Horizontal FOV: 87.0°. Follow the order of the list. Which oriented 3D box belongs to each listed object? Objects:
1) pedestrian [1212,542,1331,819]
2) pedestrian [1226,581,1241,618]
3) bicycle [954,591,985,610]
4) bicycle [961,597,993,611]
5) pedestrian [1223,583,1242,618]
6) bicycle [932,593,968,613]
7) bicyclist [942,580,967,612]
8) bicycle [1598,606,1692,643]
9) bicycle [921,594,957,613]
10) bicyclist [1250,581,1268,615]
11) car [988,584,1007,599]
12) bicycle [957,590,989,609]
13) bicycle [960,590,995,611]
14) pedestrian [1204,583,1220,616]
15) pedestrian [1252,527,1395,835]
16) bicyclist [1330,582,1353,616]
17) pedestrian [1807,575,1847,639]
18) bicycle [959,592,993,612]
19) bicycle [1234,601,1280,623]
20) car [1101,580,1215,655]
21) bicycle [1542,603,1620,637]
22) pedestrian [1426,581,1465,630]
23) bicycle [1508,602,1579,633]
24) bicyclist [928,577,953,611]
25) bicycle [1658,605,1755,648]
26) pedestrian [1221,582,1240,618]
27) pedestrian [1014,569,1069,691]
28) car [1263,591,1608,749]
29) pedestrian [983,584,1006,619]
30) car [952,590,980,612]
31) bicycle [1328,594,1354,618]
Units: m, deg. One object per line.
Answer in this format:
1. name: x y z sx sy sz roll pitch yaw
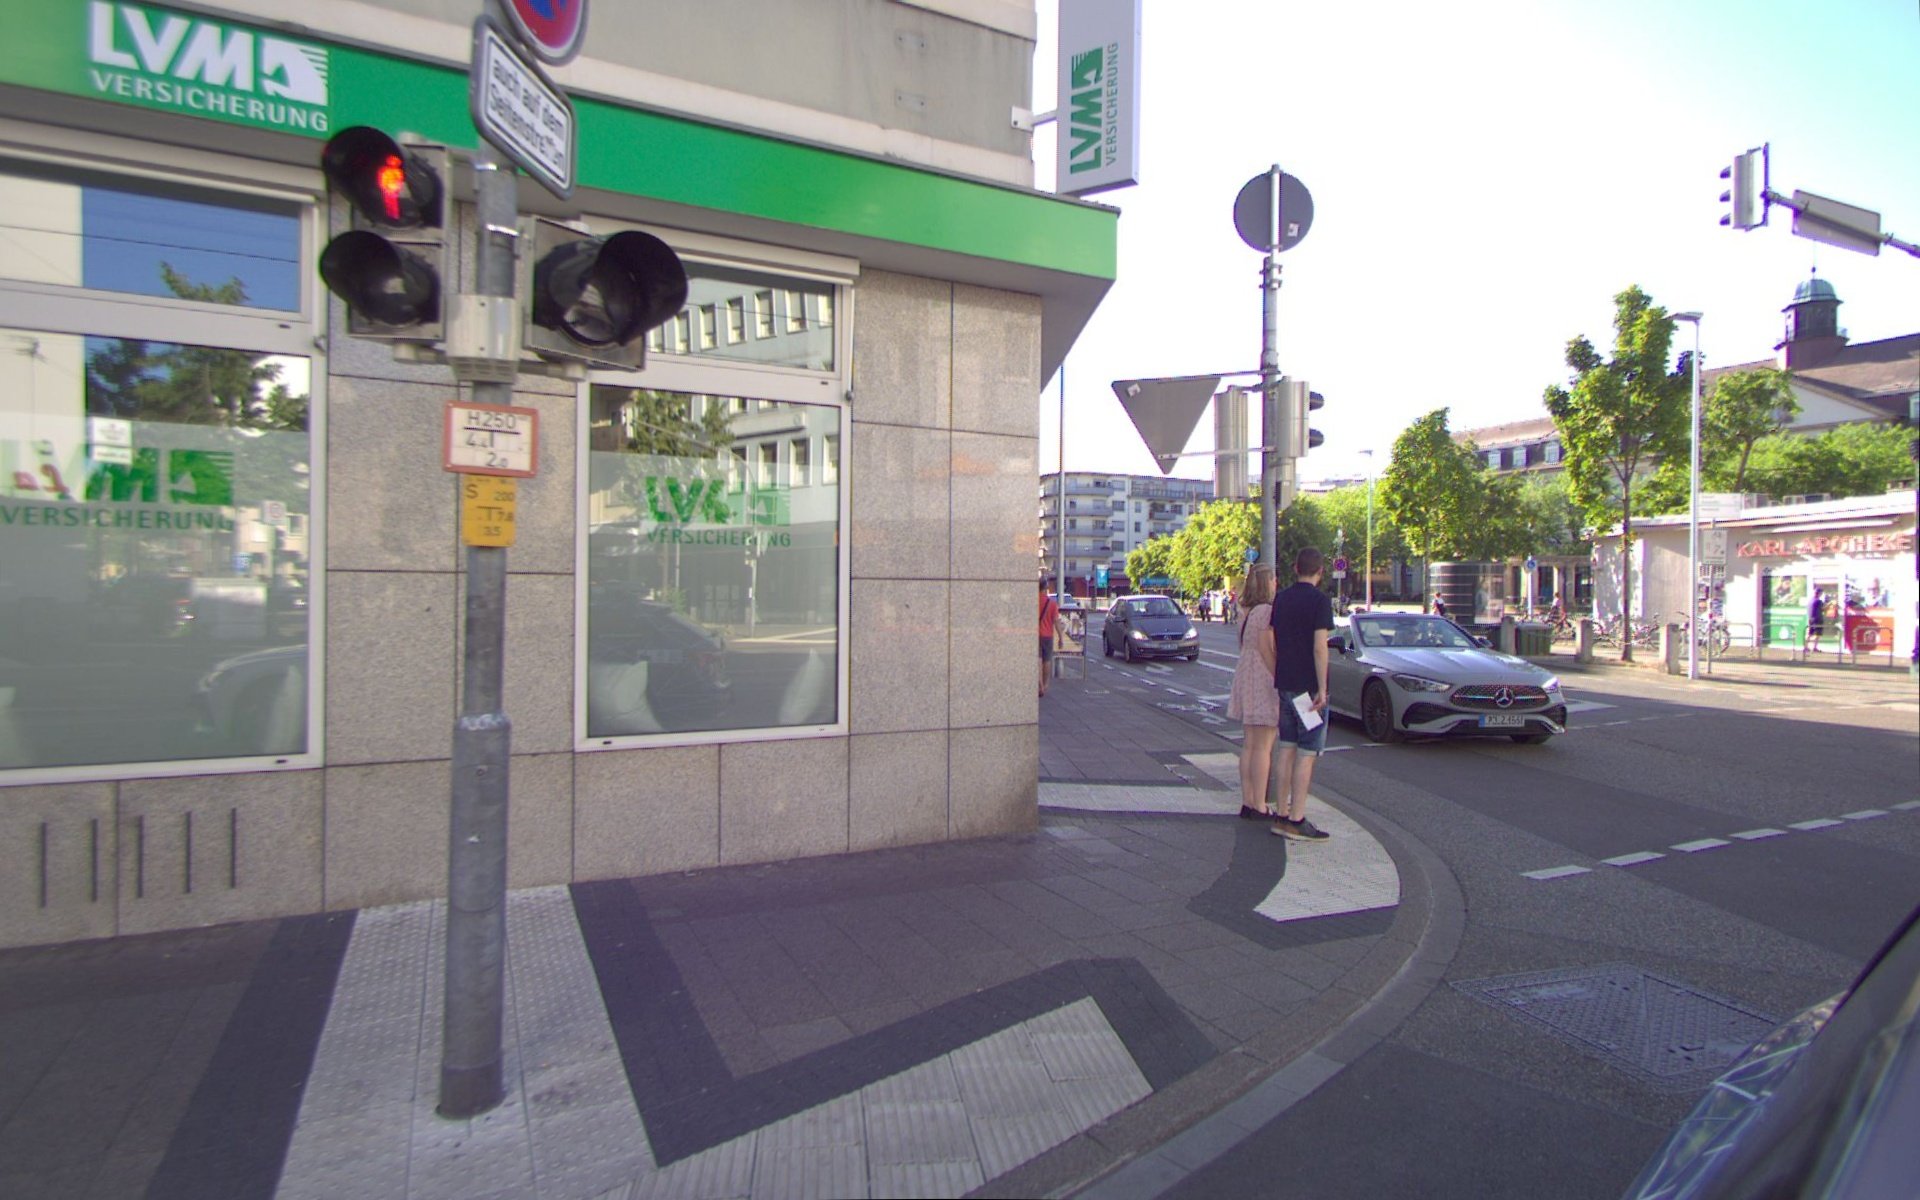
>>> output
1. pedestrian: 2.091 0.512 6.857 0.563 1.781 0.650 0 0 -3
2. pedestrian: 14.540 -0.040 53.809 0.597 1.942 0.784 0 0 -1
3. bicycle: 0.625 0.016 65.882 2.011 1.196 0.683 0 0 -1
4. bicycle: 1.031 0.254 60.609 1.810 0.842 0.743 0 0 -7
5. pedestrian: 14.191 0.016 52.644 0.781 1.834 0.580 0 0 44
6. bicycle: -0.531 0.164 54.134 1.896 1.032 0.555 0 0 26
7. bicyclist: -0.301 -0.219 53.972 1.120 1.706 0.720 0 0 26
8. bicycle: 19.392 0.685 28.694 1.988 1.015 0.885 0 0 12
9. bicycle: -1.091 0.180 53.130 1.784 1.006 0.566 0 0 -24
10. bicyclist: 14.765 -0.088 49.992 0.795 1.669 0.987 0 0 20
11. car: 5.018 -1.131 135.828 1.961 1.971 4.787 3 0 -3
12. bicycle: 0.817 -0.012 64.817 1.989 1.164 0.716 1 0 -1
13. bicycle: 1.084 0.023 62.245 2.100 1.260 0.712 0 0 -6
14. pedestrian: 13.159 -0.022 52.885 0.681 1.694 0.690 0 0 29
15. pedestrian: 2.308 0.489 6.488 0.629 1.865 0.682 0 0 -3
16. bicyclist: 18.578 -0.063 49.329 0.930 1.629 1.164 0 0 16
17. pedestrian: 23.558 0.182 27.501 0.510 1.731 0.612 1 0 -3
18. bicycle: 0.957 0.108 61.249 1.907 1.227 0.934 0 0 -8
19. bicycle: 14.688 0.588 49.987 2.148 1.085 0.759 0 0 19
20. car: 4.886 0.385 25.547 1.961 1.749 4.002 0 1 -2
21. bicycle: 18.881 0.613 30.807 1.858 1.015 0.764 0 0 6
22. pedestrian: 17.326 0.199 36.137 0.885 1.719 1.085 0 0 1
23. bicycle: 19.239 0.578 33.390 1.858 1.015 0.764 0 0 6
24. bicyclist: -1.029 -0.305 53.160 1.118 1.783 0.754 0 0 -24
25. bicycle: 19.459 0.682 26.399 1.957 1.102 0.754 0 0 0
26. pedestrian: 13.891 -0.021 51.925 0.577 1.834 0.785 0 0 -28
27. pedestrian: 1.190 0.428 14.953 0.679 1.724 0.912 1 0 -1
28. car: 5.319 0.659 12.098 1.874 1.480 4.366 -2 1 -2
29. pedestrian: 1.681 0.065 49.348 0.810 1.679 0.757 0 0 34
30. car: 0.455 0.090 82.877 1.960 1.756 4.203 0 1 -5
31. bicycle: 18.593 0.279 49.451 0.930 1.147 2.467 0 0 15
